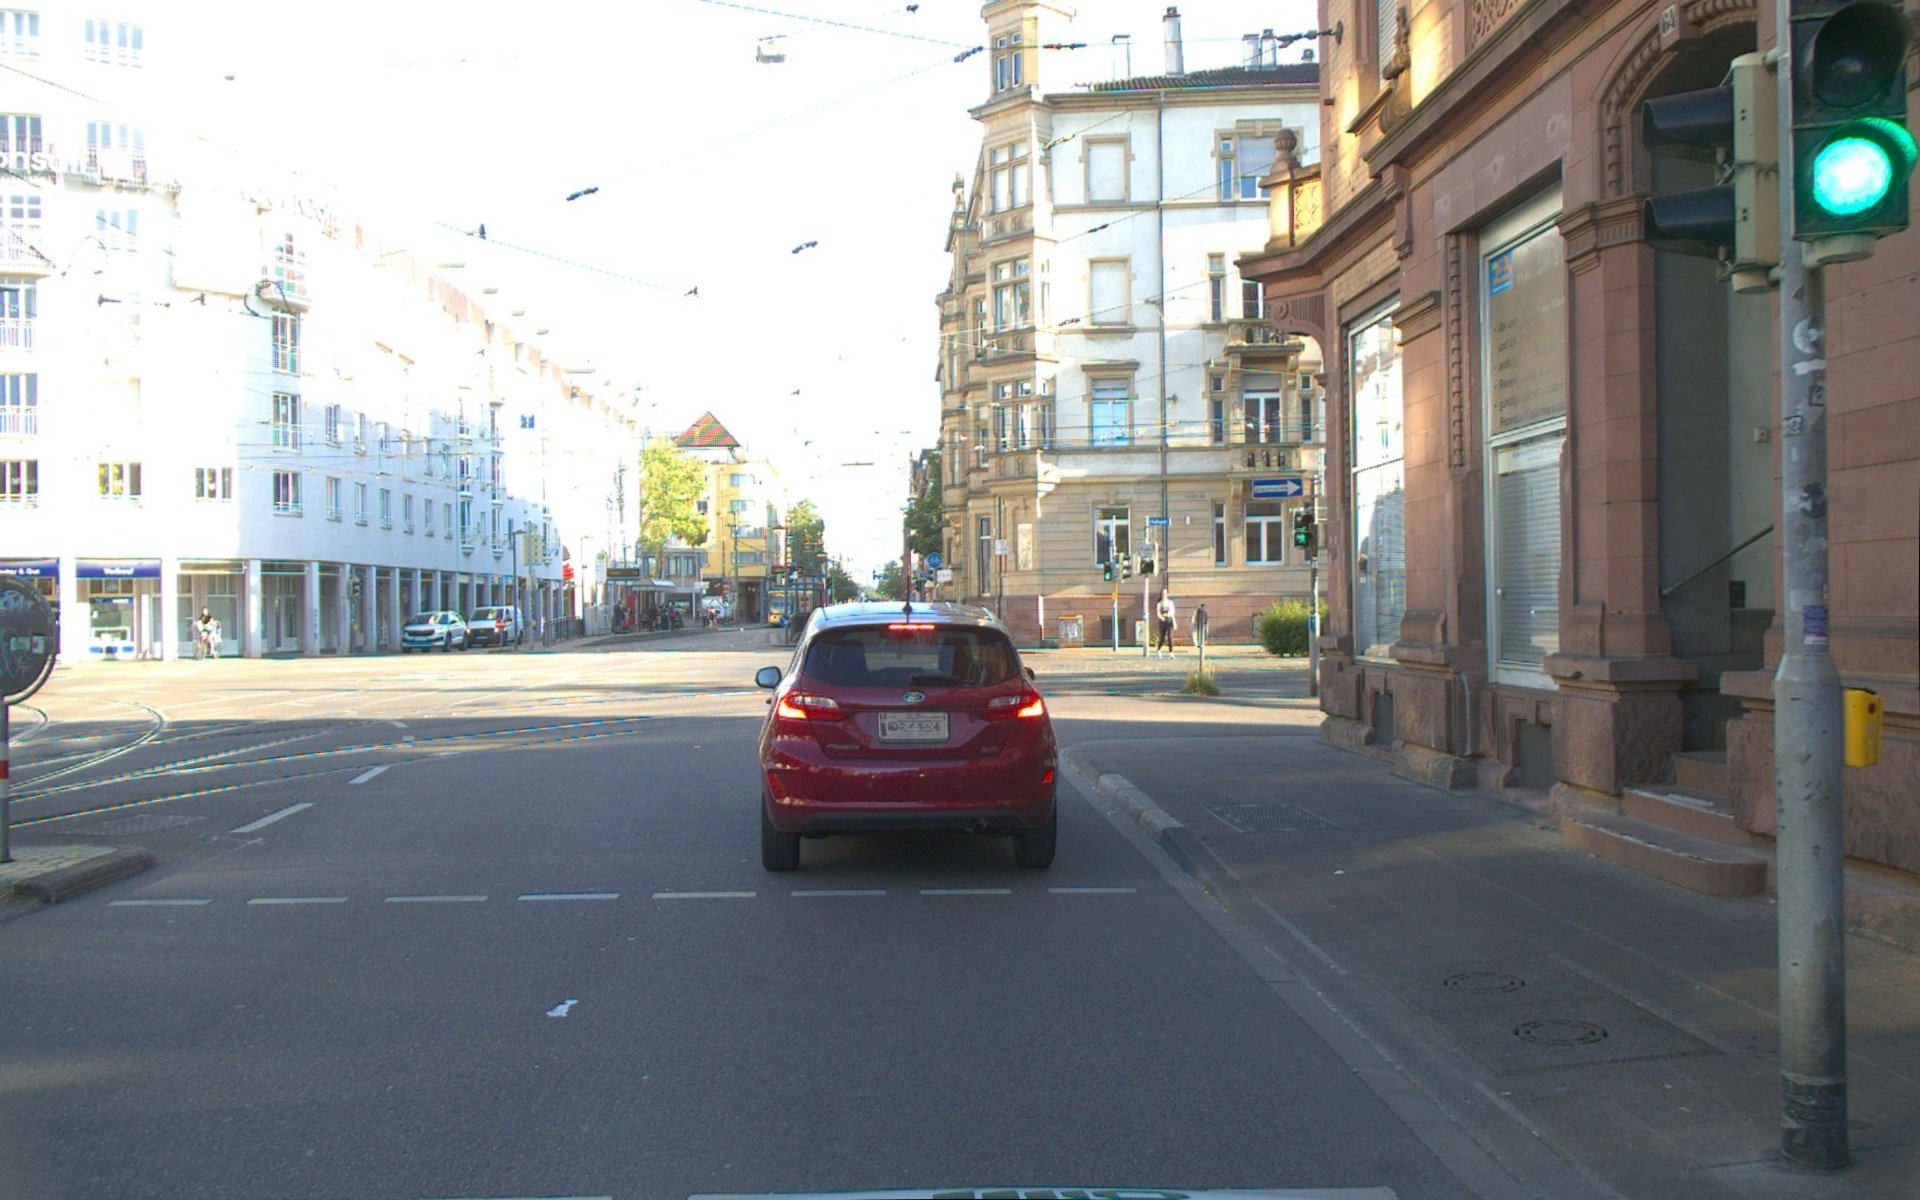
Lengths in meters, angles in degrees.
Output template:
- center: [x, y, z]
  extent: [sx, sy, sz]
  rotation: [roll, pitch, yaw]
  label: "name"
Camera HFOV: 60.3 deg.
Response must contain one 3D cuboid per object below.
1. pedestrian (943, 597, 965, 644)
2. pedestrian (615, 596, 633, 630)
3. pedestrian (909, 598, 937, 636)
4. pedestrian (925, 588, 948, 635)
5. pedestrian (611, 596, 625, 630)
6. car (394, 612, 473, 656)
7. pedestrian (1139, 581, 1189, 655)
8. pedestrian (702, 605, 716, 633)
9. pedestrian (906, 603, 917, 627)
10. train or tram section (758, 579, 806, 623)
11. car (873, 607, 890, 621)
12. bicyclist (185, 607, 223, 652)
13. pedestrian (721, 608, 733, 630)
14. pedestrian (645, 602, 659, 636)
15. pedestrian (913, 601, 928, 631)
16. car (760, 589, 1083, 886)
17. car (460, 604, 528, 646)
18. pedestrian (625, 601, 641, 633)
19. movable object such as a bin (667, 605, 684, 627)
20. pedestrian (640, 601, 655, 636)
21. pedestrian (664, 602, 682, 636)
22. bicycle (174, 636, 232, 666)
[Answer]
- center: [-0.250, 0.844, 67.938]
  extent: [0.785, 1.855, 0.797]
  rotation: [-3, 0, -3]
  label: "pedestrian"
- center: [-17.195, 0.672, 84.737]
  extent: [0.751, 1.763, 0.518]
  rotation: [-2, -1, 39]
  label: "pedestrian"
- center: [-1.401, 0.645, 62.576]
  extent: [0.785, 1.354, 0.713]
  rotation: [-2, -1, -28]
  label: "pedestrian"
- center: [-0.910, 0.428, 63.254]
  extent: [0.778, 1.751, 0.719]
  rotation: [-3, -1, -5]
  label: "pedestrian"
- center: [-17.099, 0.648, 82.697]
  extent: [0.587, 1.721, 0.613]
  rotation: [-1, -1, -3]
  label: "pedestrian"
- center: [-21.497, 1.370, 67.687]
  extent: [1.954, 1.648, 4.507]
  rotation: [-1, 0, -3]
  label: "car"
- center: [5.207, 0.457, 42.258]
  extent: [1.003, 1.838, 1.082]
  rotation: [-1, 0, -6]
  label: "pedestrian"
- center: [-17.765, 1.323, 117.037]
  extent: [0.865, 1.938, 0.930]
  rotation: [-1, -1, -19]
  label: "pedestrian"
- center: [-3.748, 1.197, 128.489]
  extent: [0.699, 1.805, 0.772]
  rotation: [-4, 1, -6]
  label: "pedestrian"
- center: [-15.095, 0.100, 141.167]
  extent: [2.827, 3.551, 14.162]
  rotation: [-2, 0, -2]
  label: "train or tram section"
- center: [-8.812, 1.552, 186.039]
  extent: [1.954, 1.475, 3.998]
  rotation: [-1, 0, -3]
  label: "car"
- center: [-25.930, 1.013, 56.736]
  extent: [0.823, 1.493, 0.897]
  rotation: [-1, 0, 3]
  label: "bicyclist"
- center: [-20.948, 1.720, 148.494]
  extent: [0.865, 1.938, 0.930]
  rotation: [-1, -1, -19]
  label: "pedestrian"
- center: [-17.349, 1.070, 93.314]
  extent: [0.682, 1.938, 0.671]
  rotation: [-1, -1, -5]
  label: "pedestrian"
- center: [-2.266, 0.903, 94.200]
  extent: [0.747, 1.674, 0.832]
  rotation: [-3, 0, -3]
  label: "pedestrian"
- center: [-0.305, 0.722, 10.349]
  extent: [1.658, 1.522, 3.577]
  rotation: [1, 0, -4]
  label: "car"
- center: [-22.018, 1.149, 78.336]
  extent: [1.954, 1.869, 5.343]
  rotation: [-1, 0, -3]
  label: "car"
- center: [-17.573, 0.921, 88.815]
  extent: [0.687, 1.721, 0.666]
  rotation: [-1, -1, -26]
  label: "pedestrian"
- center: [-17.405, 0.979, 101.210]
  extent: [0.919, 1.309, 0.934]
  rotation: [-1, -1, -5]
  label: "movable object such as a bin"
- center: [-17.473, 1.059, 92.494]
  extent: [0.682, 1.938, 0.671]
  rotation: [-1, -1, -5]
  label: "pedestrian"
- center: [-16.437, 1.092, 94.710]
  extent: [0.914, 1.938, 0.880]
  rotation: [-1, -1, -5]
  label: "pedestrian"
- center: [-25.921, 1.740, 56.658]
  extent: [0.823, 0.943, 2.266]
  rotation: [-1, 0, 3]
  label: "bicycle"
